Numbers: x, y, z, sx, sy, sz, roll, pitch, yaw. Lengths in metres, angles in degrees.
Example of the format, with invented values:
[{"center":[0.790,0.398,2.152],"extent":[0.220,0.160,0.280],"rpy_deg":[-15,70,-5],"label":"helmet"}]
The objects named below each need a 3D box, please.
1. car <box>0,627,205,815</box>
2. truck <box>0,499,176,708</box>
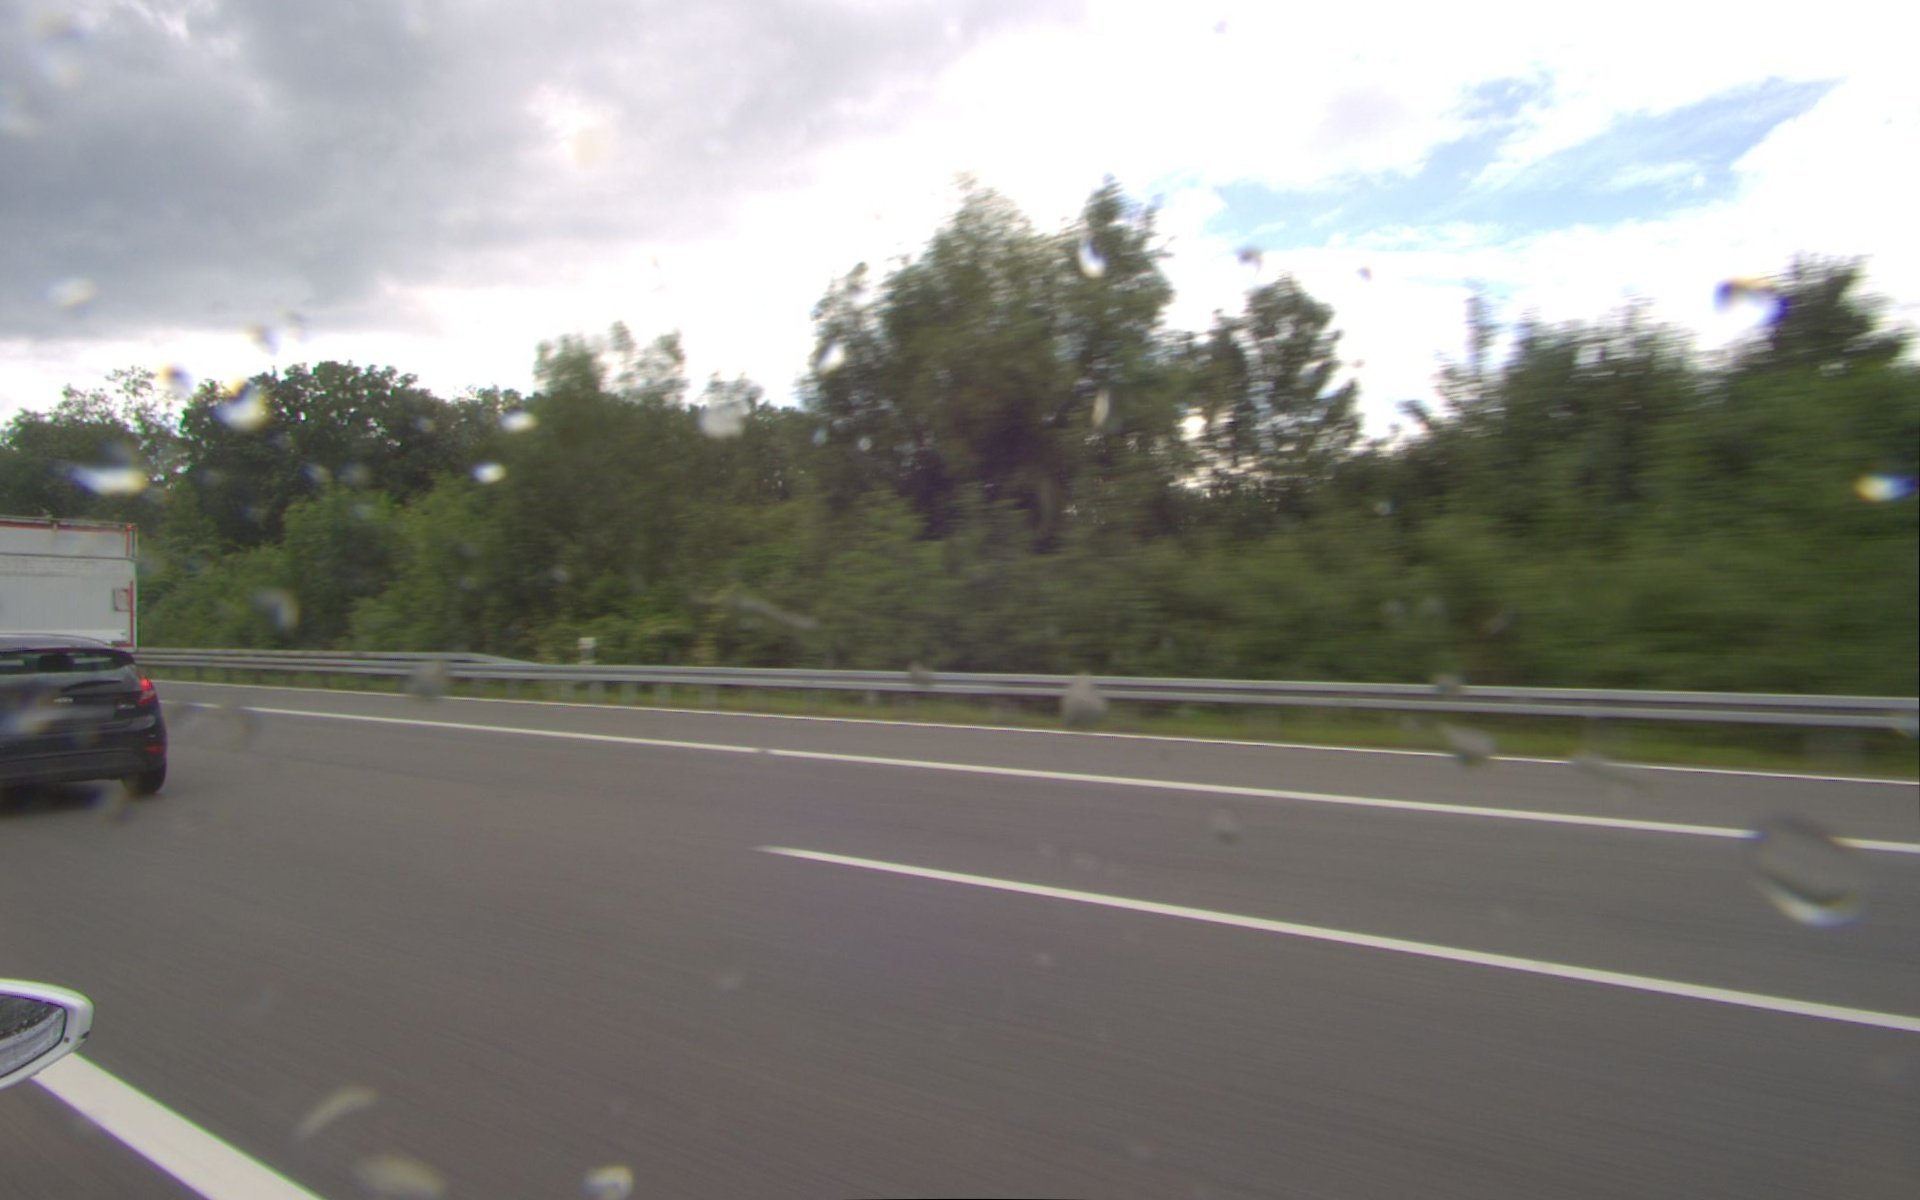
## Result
[{"center":[-8.986,0.977,9.243],"extent":[4.221,1.425,1.881],"rpy_deg":[-1,-1,32],"label":"car"},{"center":[-20.744,0.135,21.559],"extent":[9.708,3.758,3.127],"rpy_deg":[-1,-1,33],"label":"truck"}]
